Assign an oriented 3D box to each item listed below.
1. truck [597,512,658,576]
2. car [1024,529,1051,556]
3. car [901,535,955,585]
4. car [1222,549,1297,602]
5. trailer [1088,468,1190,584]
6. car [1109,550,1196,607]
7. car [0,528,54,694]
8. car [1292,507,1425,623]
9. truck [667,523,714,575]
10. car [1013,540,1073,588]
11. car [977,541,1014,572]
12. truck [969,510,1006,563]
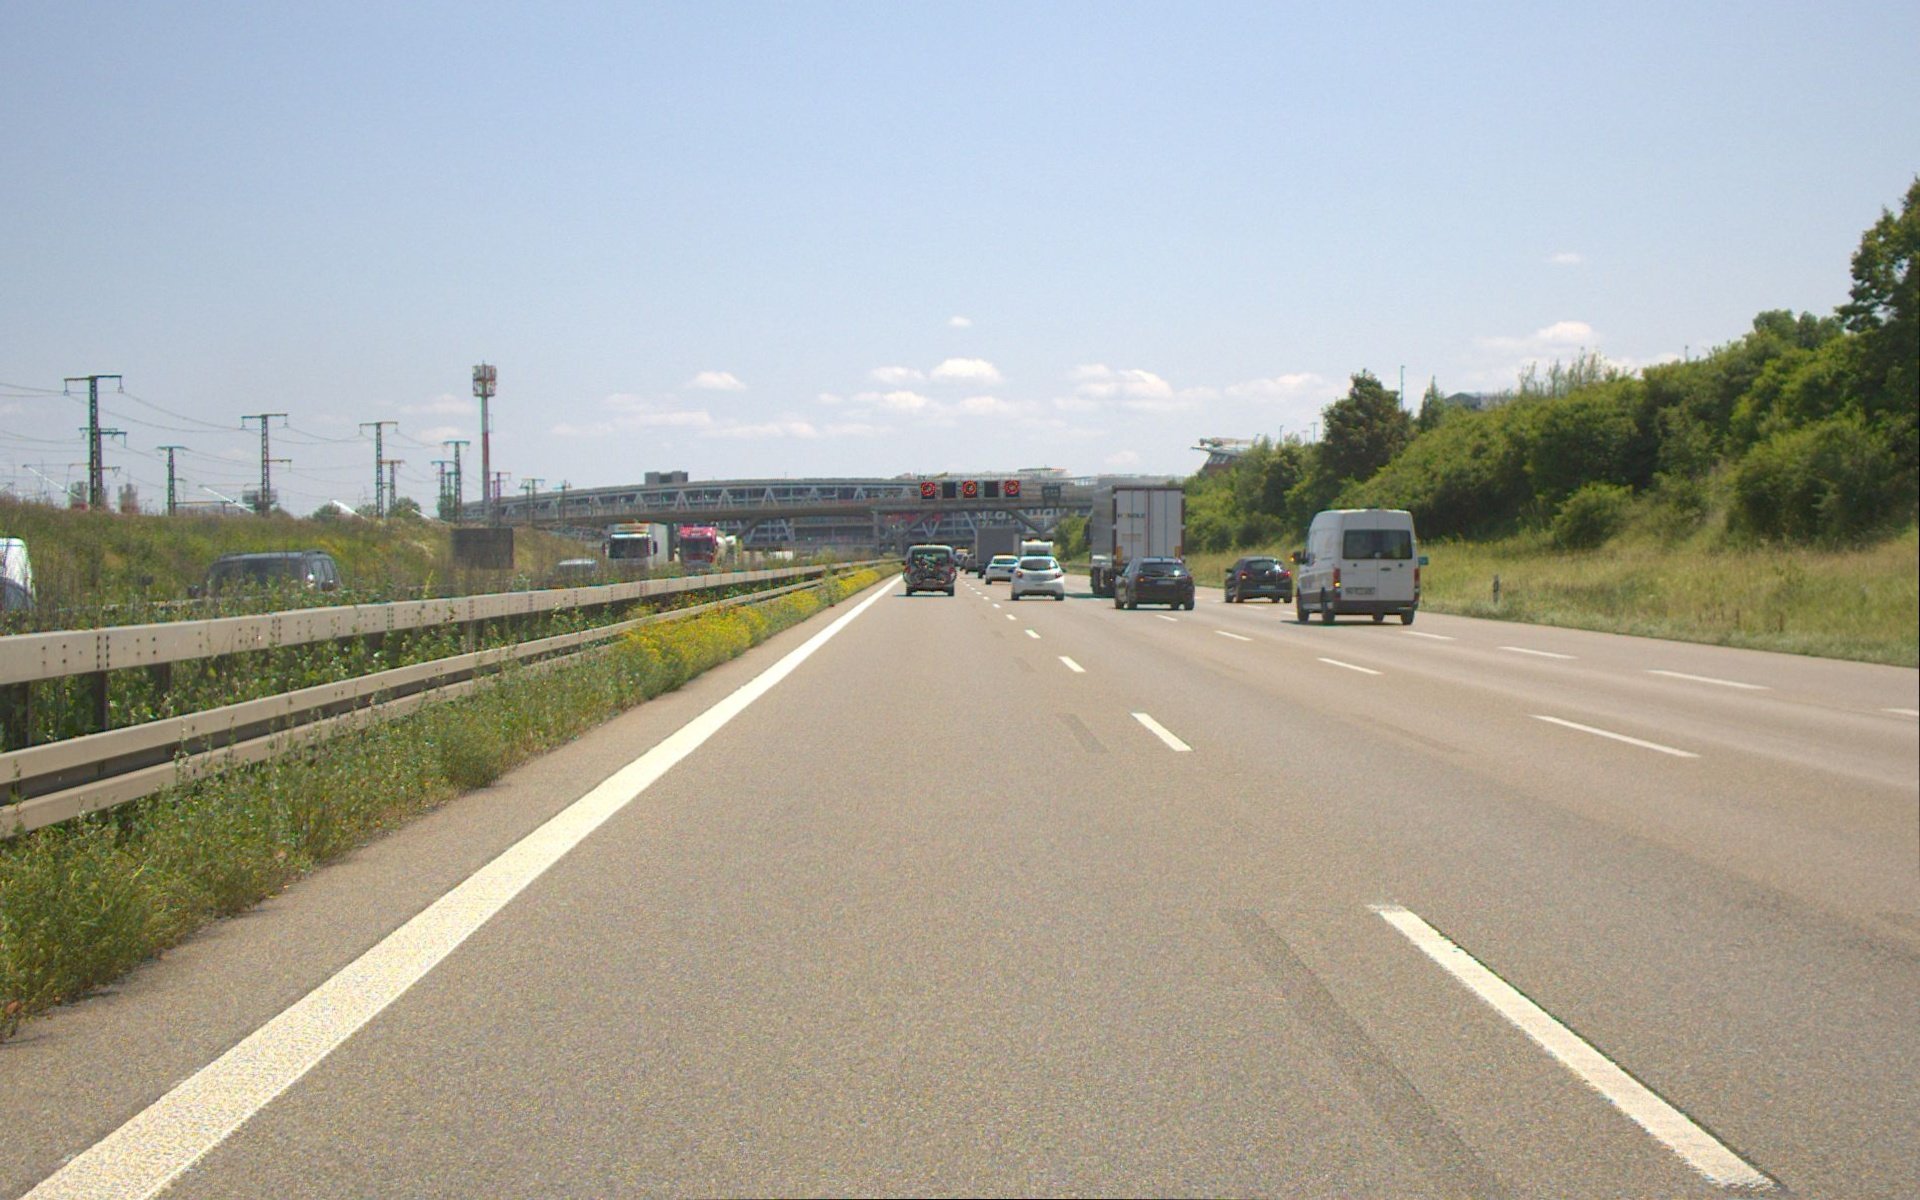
[{"bbox_3d":[-17.992,-3.045,186.433,2.787,3.377,4.713,1,1,0],"label":"truck"},{"bbox_3d":[5.729,-4.254,253.861,1.993,2.007,4.437,-1,1,1],"label":"car"},{"bbox_3d":[-1.151,-1.446,124.593,1.881,1.769,4.000,-1,0,0],"label":"car"},{"bbox_3d":[9.649,-0.782,111.116,1.993,1.590,4.000,1,0,-1],"label":"car"},{"bbox_3d":[6.490,-2.696,126.049,3.177,4.045,9.440,-1,1,0],"label":"trailer"},{"bbox_3d":[5.346,-0.588,95.872,1.993,1.503,4.000,1,0,-3],"label":"car"},{"bbox_3d":[-12.596,0.128,41.477,1.993,2.007,5.433,0,1,-1],"label":"car"},{"bbox_3d":[8.987,-0.816,77.982,2.274,2.519,5.400,0,1,-1],"label":"car"},{"bbox_3d":[-18.621,-3.523,237.616,2.787,3.509,4.713,1,1,0],"label":"truck"},{"bbox_3d":[2.776,-1.183,114.027,1.881,1.521,4.000,1,0,2],"label":"car"},{"bbox_3d":[1.840,-2.224,176.913,1.881,1.521,4.000,1,0,1],"label":"car"},{"bbox_3d":[1.765,-4.158,225.432,2.355,3.404,6.057,0,1,0],"label":"truck"}]
